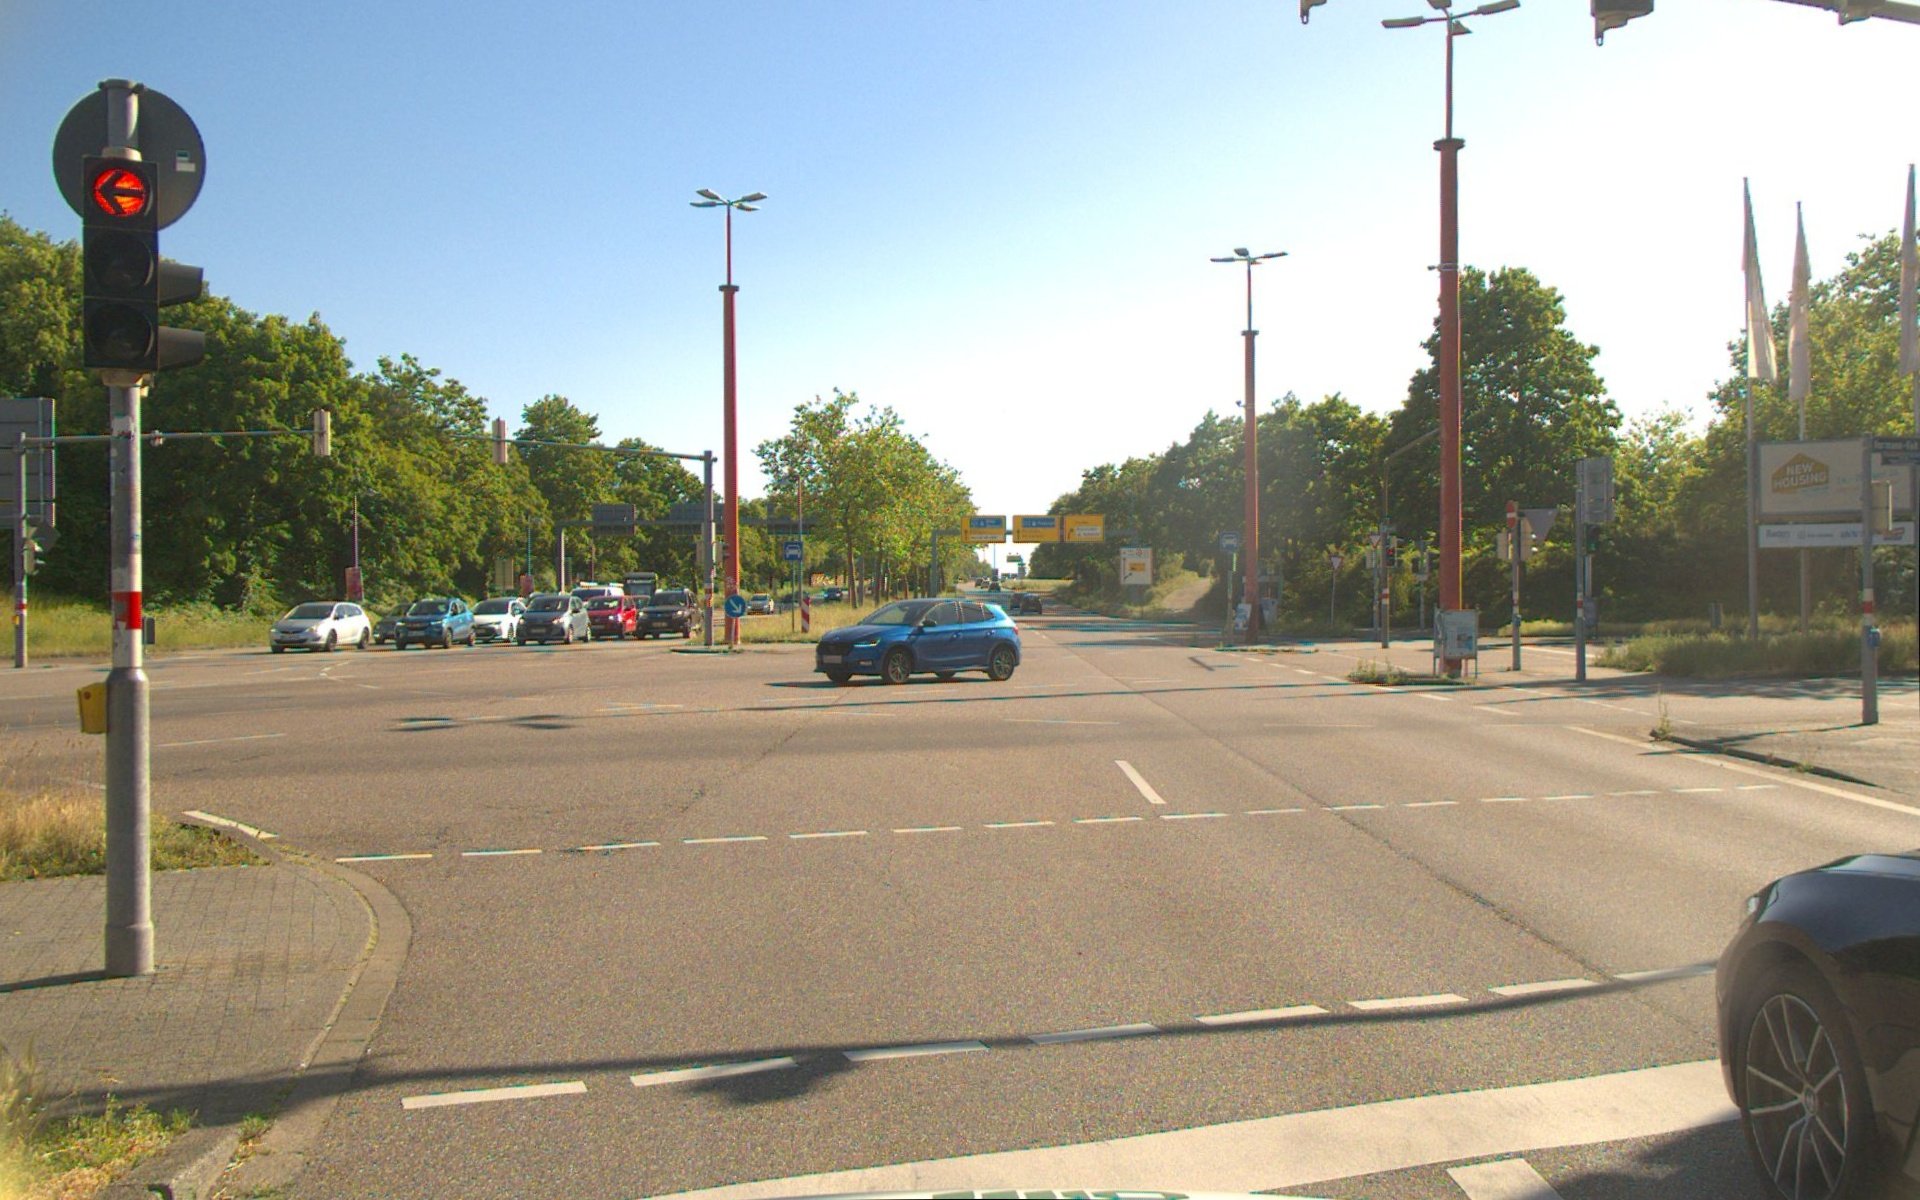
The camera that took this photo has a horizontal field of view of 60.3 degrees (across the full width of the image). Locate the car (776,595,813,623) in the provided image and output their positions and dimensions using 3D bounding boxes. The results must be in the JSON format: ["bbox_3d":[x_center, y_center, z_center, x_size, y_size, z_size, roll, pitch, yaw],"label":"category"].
[{"bbox_3d":[-9.920,0.520,99.336,1.847,1.570,3.999,-2,0,-1],"label":"car"}]

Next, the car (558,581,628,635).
[{"bbox_3d":[-15.621,0.336,70.589,1.922,2.193,5.080,-1,0,-1],"label":"car"}]

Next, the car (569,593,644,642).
[{"bbox_3d":[-12.446,0.588,58.433,1.838,1.579,3.998,-3,0,-2],"label":"car"}]

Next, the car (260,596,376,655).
[{"bbox_3d":[-19.542,0.742,50.544,1.838,1.681,4.219,-1,0,0],"label":"car"}]

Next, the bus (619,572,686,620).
[{"bbox_3d":[-22.883,-0.256,123.851,2.591,3.318,12.535,1,0,0],"label":"bus"}]

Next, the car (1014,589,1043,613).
[{"bbox_3d":[5.225,0.051,125.944,1.953,1.764,3.999,1,0,-1],"label":"car"}]

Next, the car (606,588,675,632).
[{"bbox_3d":[-12.405,0.372,64.433,1.862,1.658,4.000,0,0,1],"label":"car"}]

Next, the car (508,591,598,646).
[{"bbox_3d":[-12.769,0.556,52.090,1.836,1.577,4.027,-2,1,-1],"label":"car"}]

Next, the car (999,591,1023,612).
[{"bbox_3d":[4.462,0.146,145.865,1.953,1.764,3.999,1,0,-1],"label":"car"}]

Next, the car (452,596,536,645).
[{"bbox_3d":[-16.032,0.668,57.030,1.863,1.582,3.998,-1,0,-2],"label":"car"}]

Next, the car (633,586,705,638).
[{"bbox_3d":[-9.839,0.390,56.213,1.757,1.654,4.142,-2,0,-2],"label":"car"}]

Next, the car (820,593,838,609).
[{"bbox_3d":[-14.873,0.105,187.608,1.800,1.869,3.960,0,0,-1],"label":"car"}]

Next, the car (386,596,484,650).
[{"bbox_3d":[-16.104,0.687,50.879,1.764,1.542,3.858,-2,0,0],"label":"car"}]

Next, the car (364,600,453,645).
[{"bbox_3d":[-19.888,0.780,59.796,1.846,1.539,4.000,-1,0,0],"label":"car"}]

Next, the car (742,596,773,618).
[{"bbox_3d":[-15.465,0.533,126.378,1.847,1.570,3.999,-2,0,-1],"label":"car"}]

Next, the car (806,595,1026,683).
[{"bbox_3d":[-0.728,0.669,29.180,3.880,1.445,1.553,1,0,-45],"label":"car"}]

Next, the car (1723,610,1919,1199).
[{"bbox_3d":[2.895,0.764,2.311,1.727,1.466,4.295,1,0,1],"label":"car"}]
